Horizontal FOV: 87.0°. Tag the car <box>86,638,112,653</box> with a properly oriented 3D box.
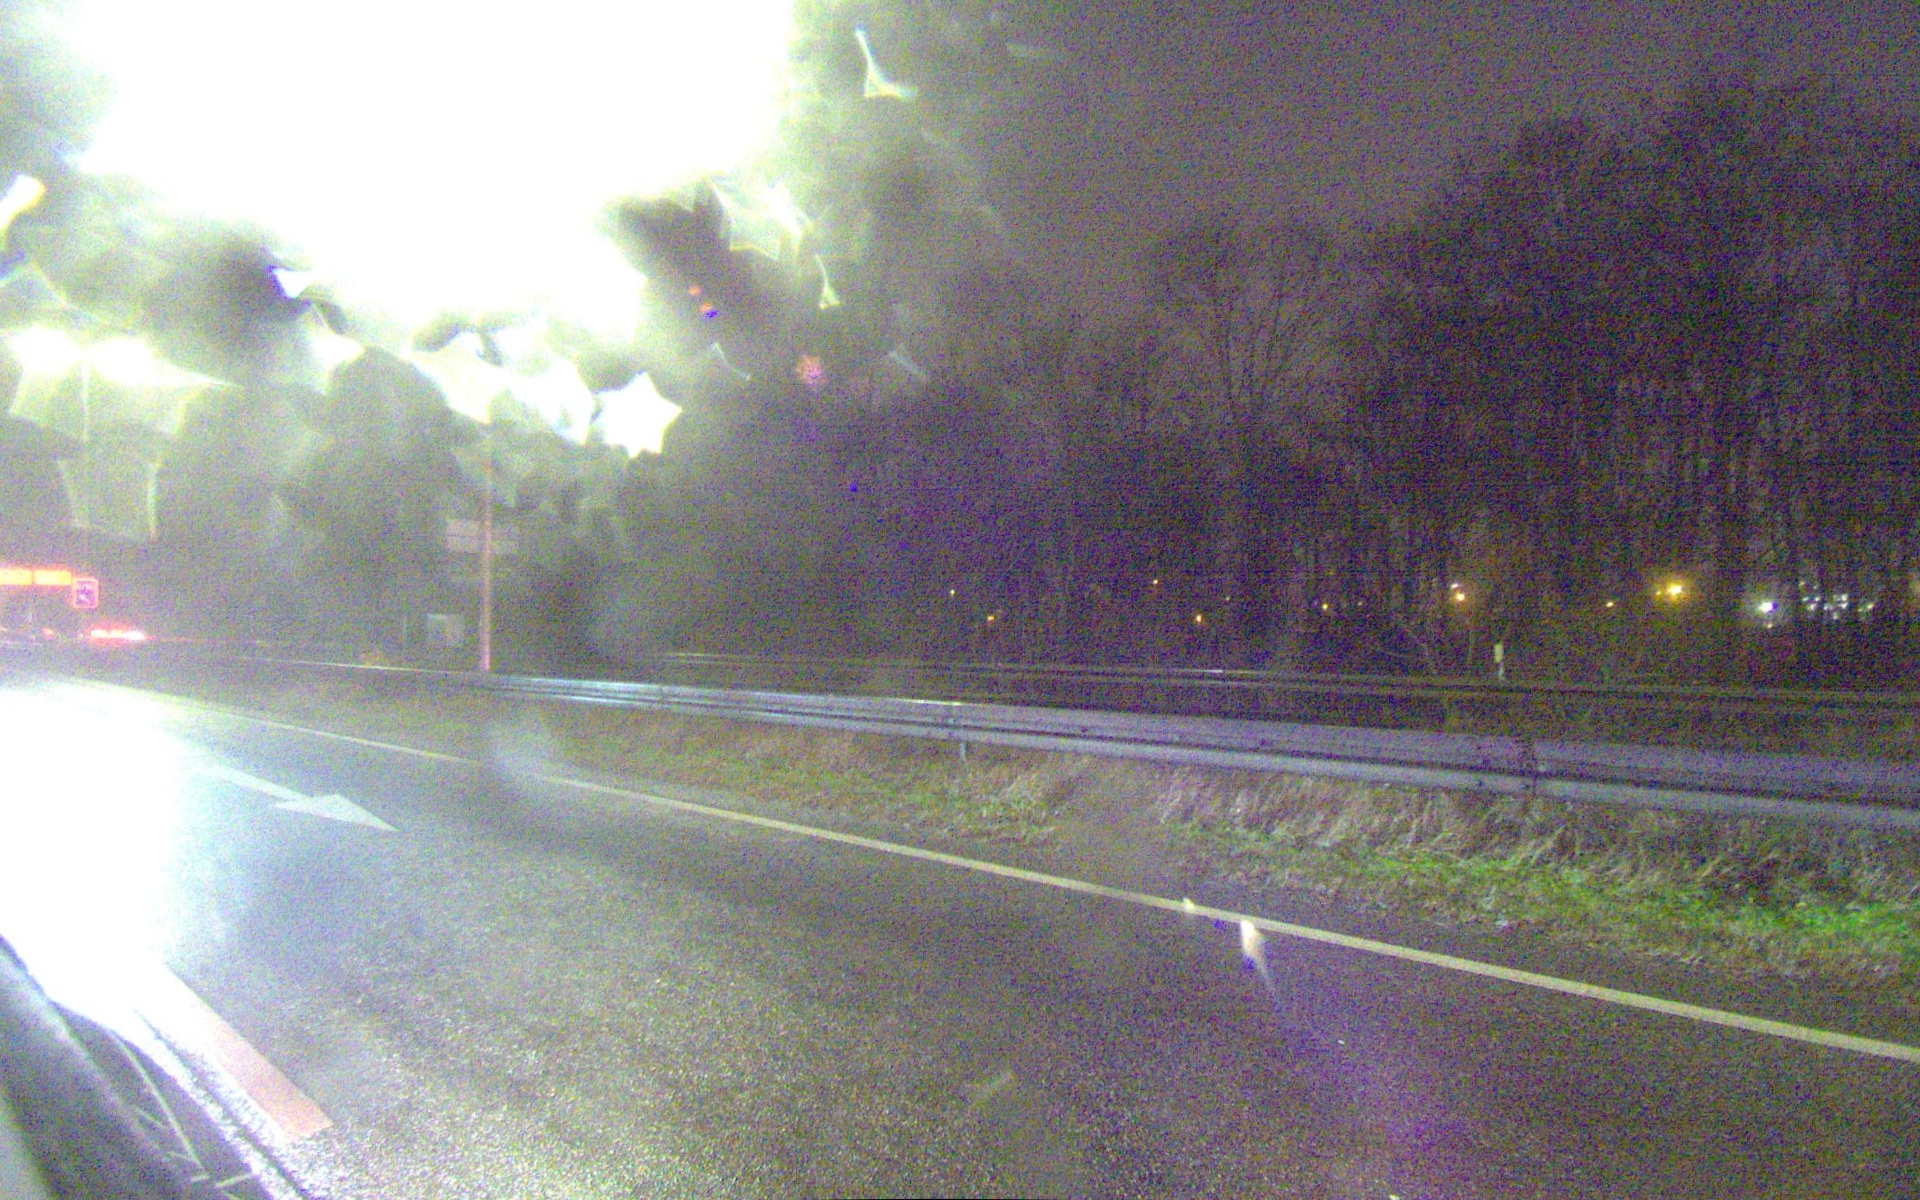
[{"bbox_3d":[-100.090,5.273,117.616,3.999,1.660,1.793,-2,-1,42],"label":"car"}]

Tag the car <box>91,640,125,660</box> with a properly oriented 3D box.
[{"bbox_3d":[-75.370,4.398,89.518,4.001,1.660,1.841,-2,-1,44],"label":"car"}]
